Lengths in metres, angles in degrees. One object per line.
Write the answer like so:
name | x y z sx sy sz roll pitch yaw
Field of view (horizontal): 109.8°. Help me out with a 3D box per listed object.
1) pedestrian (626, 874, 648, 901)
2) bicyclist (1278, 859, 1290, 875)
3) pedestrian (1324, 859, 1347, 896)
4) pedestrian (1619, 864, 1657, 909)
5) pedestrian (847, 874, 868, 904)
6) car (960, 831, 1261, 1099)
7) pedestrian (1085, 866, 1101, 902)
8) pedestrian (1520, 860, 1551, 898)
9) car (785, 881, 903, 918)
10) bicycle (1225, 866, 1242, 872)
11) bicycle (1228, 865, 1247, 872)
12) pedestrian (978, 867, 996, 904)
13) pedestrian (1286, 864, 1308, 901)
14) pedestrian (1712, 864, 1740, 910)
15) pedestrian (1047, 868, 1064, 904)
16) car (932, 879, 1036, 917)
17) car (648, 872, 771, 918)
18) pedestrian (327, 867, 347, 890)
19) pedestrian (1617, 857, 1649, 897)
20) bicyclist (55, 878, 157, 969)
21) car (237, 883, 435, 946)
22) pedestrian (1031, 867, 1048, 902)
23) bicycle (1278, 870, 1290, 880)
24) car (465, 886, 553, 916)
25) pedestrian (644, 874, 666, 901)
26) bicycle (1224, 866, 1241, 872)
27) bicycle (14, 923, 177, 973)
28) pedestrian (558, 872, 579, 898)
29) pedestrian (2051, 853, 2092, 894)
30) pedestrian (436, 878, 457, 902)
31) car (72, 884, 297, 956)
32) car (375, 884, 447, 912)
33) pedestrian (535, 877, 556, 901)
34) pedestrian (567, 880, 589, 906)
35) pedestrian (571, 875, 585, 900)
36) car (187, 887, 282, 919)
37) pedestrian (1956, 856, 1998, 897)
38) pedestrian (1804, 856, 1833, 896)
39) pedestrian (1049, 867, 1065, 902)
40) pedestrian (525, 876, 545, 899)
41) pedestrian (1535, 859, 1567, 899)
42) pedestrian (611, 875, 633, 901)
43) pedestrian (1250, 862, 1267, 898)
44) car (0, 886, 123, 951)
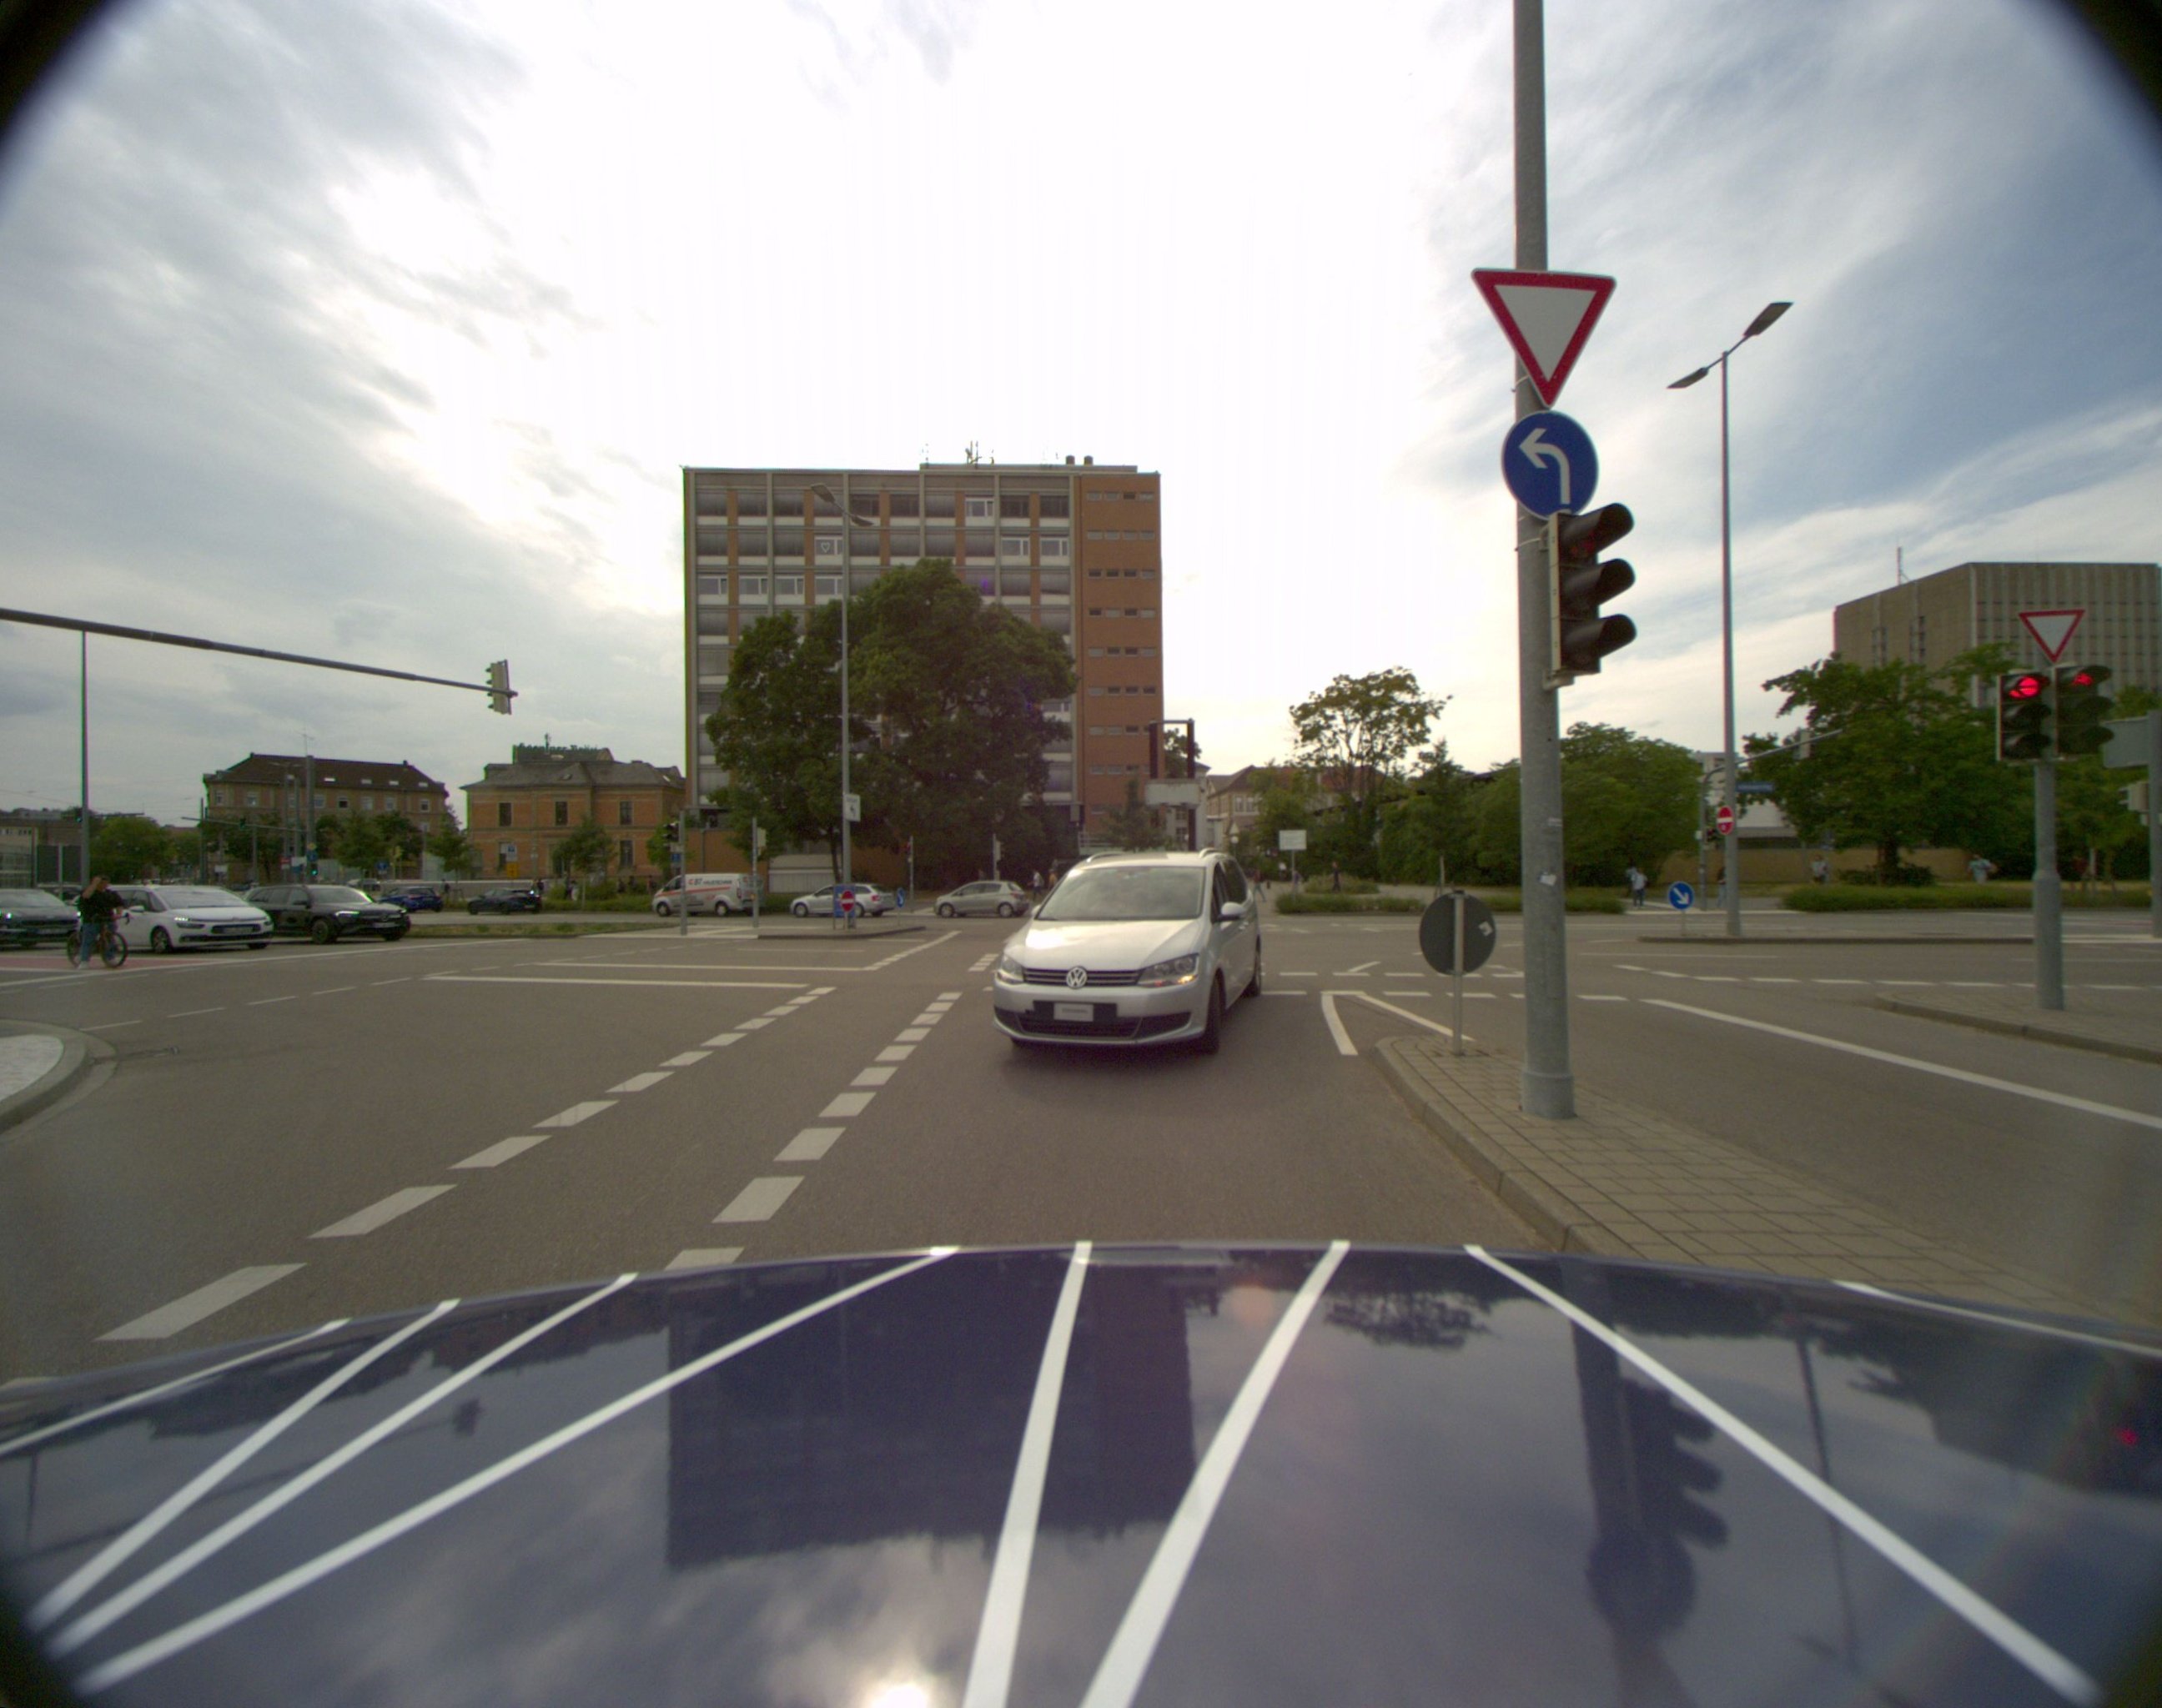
pedestrian | -26.071 1.947 44.624 0.810 1.565 0.781 -1 1 24
bicyclist | 16.205 1.036 60.652 0.838 1.269 1.014 -2 -2 14
pedestrian | 12.032 1.107 35.923 0.799 1.700 0.840 -1 -2 5
pedestrian | 21.647 1.264 29.539 0.838 1.700 0.800 -1 -2 7
pedestrian | -12.079 1.864 41.012 0.811 1.565 0.780 -1 1 5
car | 0.660 0.819 7.329 1.822 1.723 4.536 -2 -2 16
pedestrian | 0.610 1.487 37.584 0.707 1.701 0.640 -1 2 5
pedestrian | 20.473 1.139 34.224 0.800 1.700 0.839 -1 -2 -13
car | -10.167 1.945 32.692 4.520 1.465 1.828 -2 -2 13
bicycle | 17.068 1.683 84.934 1.842 0.689 0.653 -1 -2 10
bicycle | 16.487 1.557 80.039 1.842 0.689 0.653 -1 -2 10
pedestrian | -4.812 1.603 38.934 0.707 1.841 0.640 -1 0 5
pedestrian | 9.949 1.311 35.067 0.799 1.700 0.840 -1 -2 5
pedestrian | 24.125 1.242 28.416 0.587 1.700 0.481 -1 -2 7
pedestrian | -1.214 1.522 36.516 0.707 1.701 0.640 -1 1 5
car | -3.971 1.806 31.171 3.869 1.480 1.674 -2 -2 14
car | -17.026 1.883 34.844 5.195 1.947 1.828 -2 -2 16
pedestrian | -53.567 1.767 54.707 0.810 1.565 0.782 -1 1 28
pedestrian | 24.281 1.012 33.436 0.799 1.700 0.715 -1 -2 -1
bicyclist | -18.613 1.308 14.518 0.879 1.658 0.871 -1 -2 11
car | -20.953 1.685 21.414 4.503 1.640 2.003 -2 -2 16
pedestrian | -2.085 1.536 38.226 0.707 1.701 0.640 -1 0 5
bicycle | 16.221 1.683 60.649 0.842 0.689 1.848 -2 -2 16
car | -29.885 2.452 39.724 3.993 1.523 1.867 -2 -2 21
pedestrian | -25.747 1.995 45.874 0.810 1.565 0.781 -1 1 24
bicycle | 16.746 1.647 83.953 1.842 0.689 0.653 -1 -2 10
bicycle | -18.865 1.790 14.559 2.515 0.871 0.866 -2 -2 11
pedestrian | -32.561 1.970 48.247 0.810 1.565 0.782 -1 1 28
pedestrian | 41.682 0.831 31.993 0.694 1.700 0.715 -1 -2 2
pedestrian | -41.646 2.362 49.864 0.810 1.565 0.782 -1 1 28
car | -22.149 1.595 18.823 4.282 1.640 2.003 -2 -2 16
car | -37.907 2.505 42.996 3.625 1.498 1.675 -2 -2 24
pedestrian | -35.261 2.299 50.012 0.810 1.565 0.782 -1 1 28
pedestrian | -31.440 2.433 47.513 0.810 1.565 0.782 -1 1 28
pedestrian | -31.518 2.092 47.585 0.550 1.528 0.548 -2 1 -18
car | -40.718 2.338 36.548 4.214 1.449 1.764 -2 -2 23
pedestrian | 38.012 0.962 32.254 0.694 1.700 0.842 -1 -2 -1
pedestrian | 31.785 0.952 32.759 0.694 1.686 0.544 -1 2 -1
pedestrian | -1.178 1.509 37.273 0.707 1.700 0.640 -1 -2 5
pedestrian | -37.682 2.314 52.448 0.810 1.565 0.782 -1 1 28
pedestrian | 20.619 1.104 33.330 0.800 1.700 0.839 -1 -2 -13
pedestrian | -27.934 2.071 46.266 0.810 1.565 0.782 -1 1 28
pedestrian | 8.396 1.241 35.980 0.633 1.700 0.674 -1 -2 5
car | -28.955 1.734 20.737 4.282 1.640 2.003 -2 -2 16
